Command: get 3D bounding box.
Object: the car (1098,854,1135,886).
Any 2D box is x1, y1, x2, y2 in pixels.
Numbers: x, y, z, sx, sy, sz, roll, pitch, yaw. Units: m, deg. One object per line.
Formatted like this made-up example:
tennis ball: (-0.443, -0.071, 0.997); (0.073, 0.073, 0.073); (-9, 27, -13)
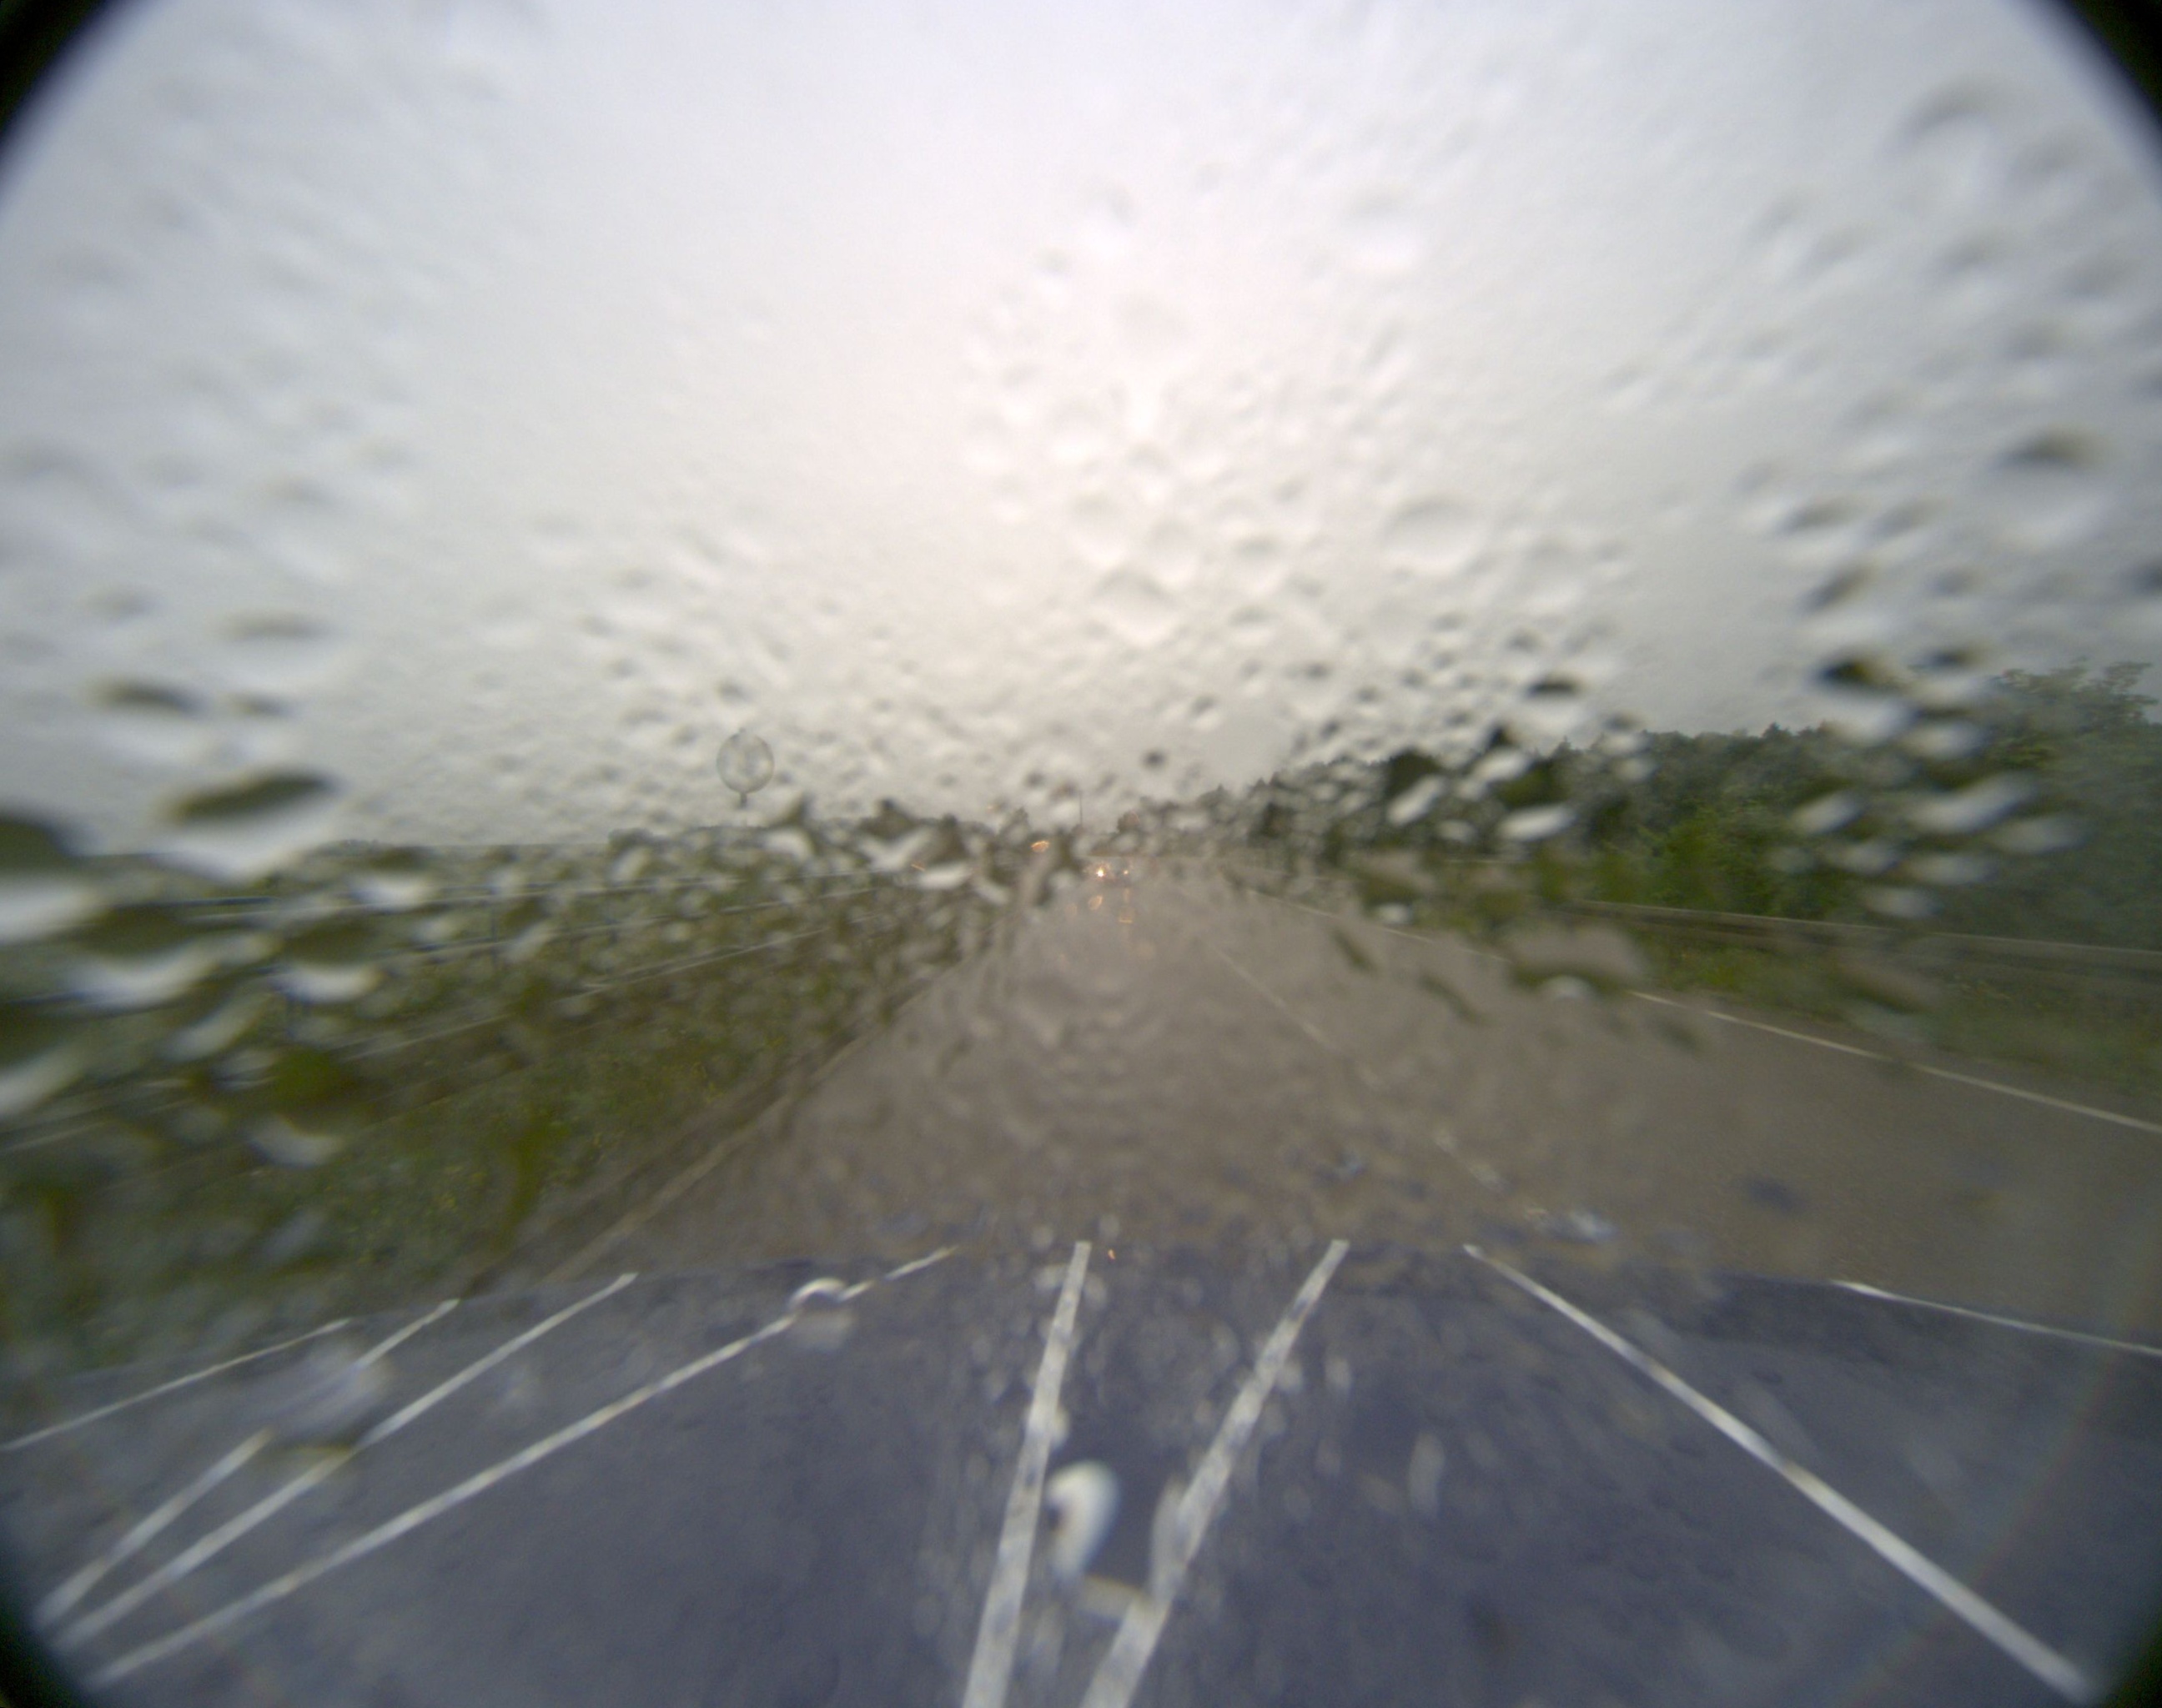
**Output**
car: (1.948, 0.810, 40.356); (1.818, 1.382, 4.069); (-3, 2, 4)
